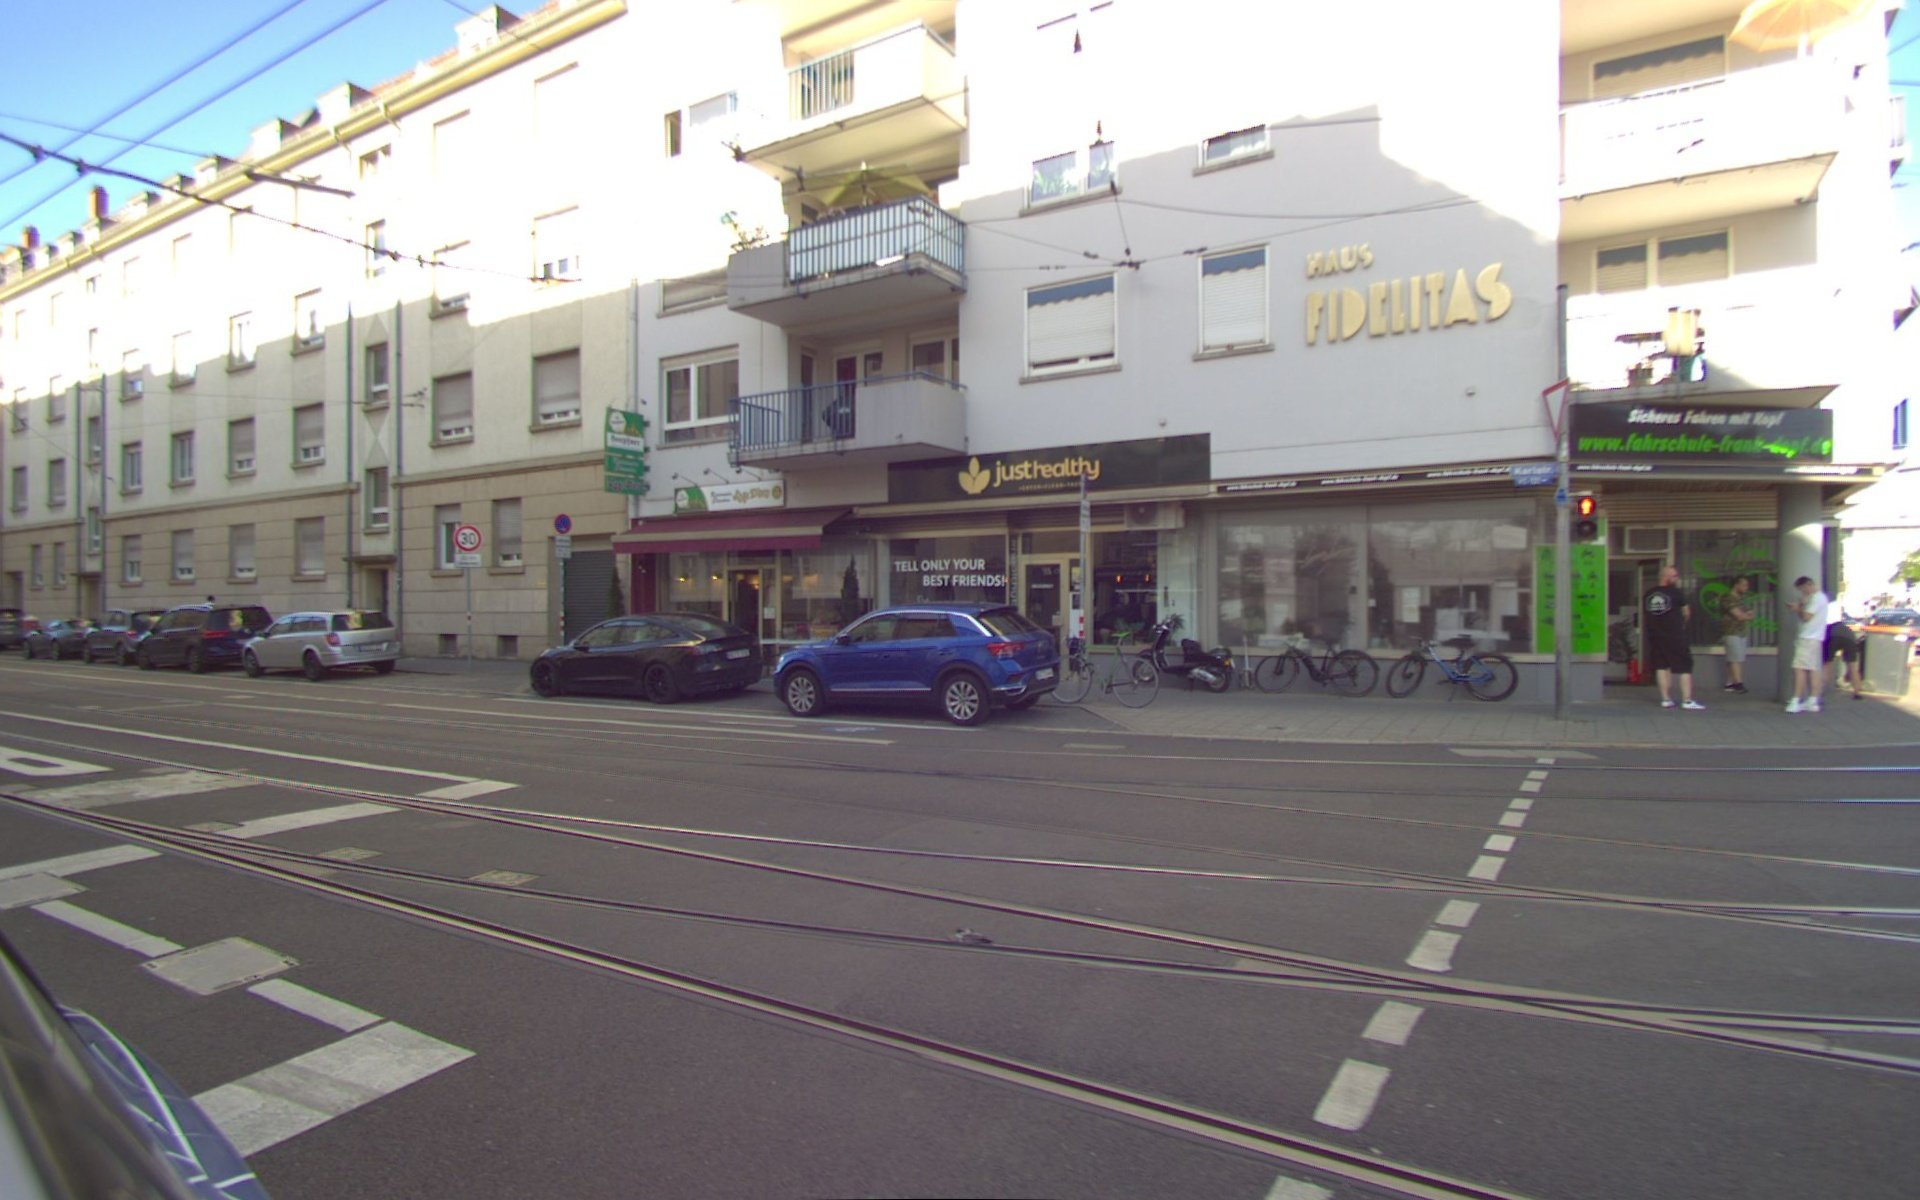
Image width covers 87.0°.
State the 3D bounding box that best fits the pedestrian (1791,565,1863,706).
[{"bbox_3d":[11.497,0.458,13.440,0.661,1.806,0.728,-1,-1,38],"label":"pedestrian"}]

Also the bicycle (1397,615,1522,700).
[{"bbox_3d":[7.049,0.786,14.314,1.534,1.114,0.546,0,2,34],"label":"bicycle"}]

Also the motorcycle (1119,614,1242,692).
[{"bbox_3d":[3.447,0.801,15.862,1.790,1.142,0.602,0,2,32],"label":"motorcycle"}]

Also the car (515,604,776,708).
[{"bbox_3d":[-5.371,0.847,17.088,4.431,1.486,1.755,0,2,32],"label":"car"}]

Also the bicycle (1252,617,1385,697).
[{"bbox_3d":[5.335,0.819,15.115,1.790,1.096,0.602,0,2,32],"label":"bicycle"}]

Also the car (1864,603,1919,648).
[{"bbox_3d":[31.591,0.840,33.608,1.880,1.424,3.882,0,-1,35],"label":"car"}]

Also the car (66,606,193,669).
[{"bbox_3d":[-23.166,1.003,28.206,3.583,1.570,1.627,0,2,32],"label":"car"}]

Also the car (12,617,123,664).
[{"bbox_3d":[-26.944,1.198,30.532,3.510,1.228,1.462,0,2,31],"label":"car"}]

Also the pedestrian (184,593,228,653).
[{"bbox_3d":[-23.077,0.691,30.979,1.000,1.780,0.659,0,1,25],"label":"pedestrian"}]

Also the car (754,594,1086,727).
[{"bbox_3d":[-0.594,0.762,13.825,4.220,1.514,1.757,-1,2,30],"label":"car"}]

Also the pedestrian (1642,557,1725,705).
[{"bbox_3d":[9.673,0.391,13.542,0.566,1.914,0.740,0,2,-41],"label":"pedestrian"}]

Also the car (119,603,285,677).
[{"bbox_3d":[-19.199,0.940,25.604,4.309,1.645,1.802,0,2,31],"label":"car"}]

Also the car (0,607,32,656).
[{"bbox_3d":[-34.020,1.083,34.955,4.143,1.621,1.735,0,2,31],"label":"car"}]

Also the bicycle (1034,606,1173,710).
[{"bbox_3d":[1.952,0.759,13.846,1.790,1.324,0.602,0,2,32],"label":"bicycle"}]

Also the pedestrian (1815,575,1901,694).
[{"bbox_3d":[13.057,0.490,14.720,0.747,1.664,0.702,4,-1,-33],"label":"pedestrian"}]

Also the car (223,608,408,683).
[{"bbox_3d":[-14.528,0.958,22.764,4.354,1.465,1.713,0,2,31],"label":"car"}]

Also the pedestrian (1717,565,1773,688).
[{"bbox_3d":[12.143,0.392,15.669,0.596,1.869,0.514,0,1,28],"label":"pedestrian"}]
